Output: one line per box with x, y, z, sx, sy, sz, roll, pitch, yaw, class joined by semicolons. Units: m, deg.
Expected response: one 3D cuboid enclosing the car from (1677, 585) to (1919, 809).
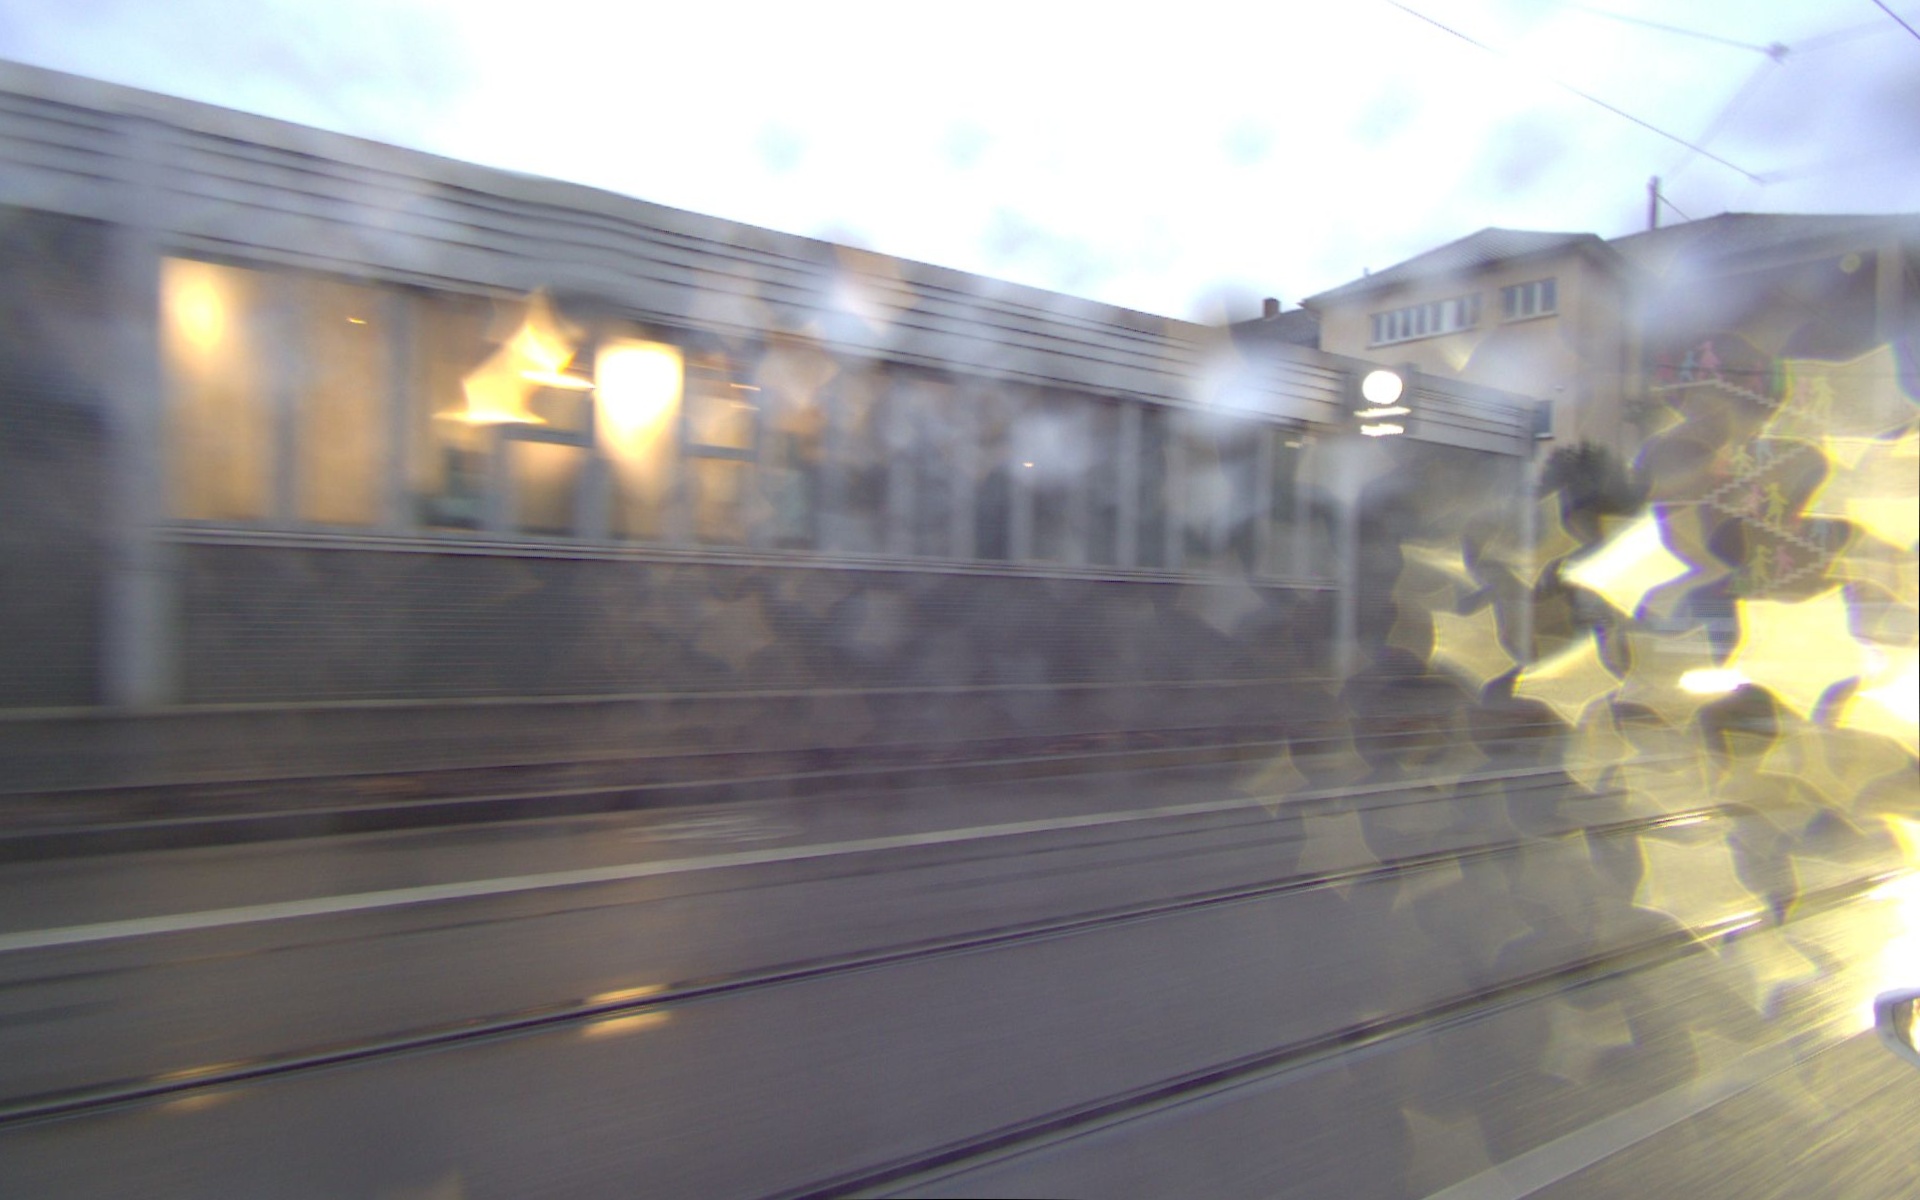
9.078;0.804;9.656;4.706;1.732;1.866;1;-1;-31;car
